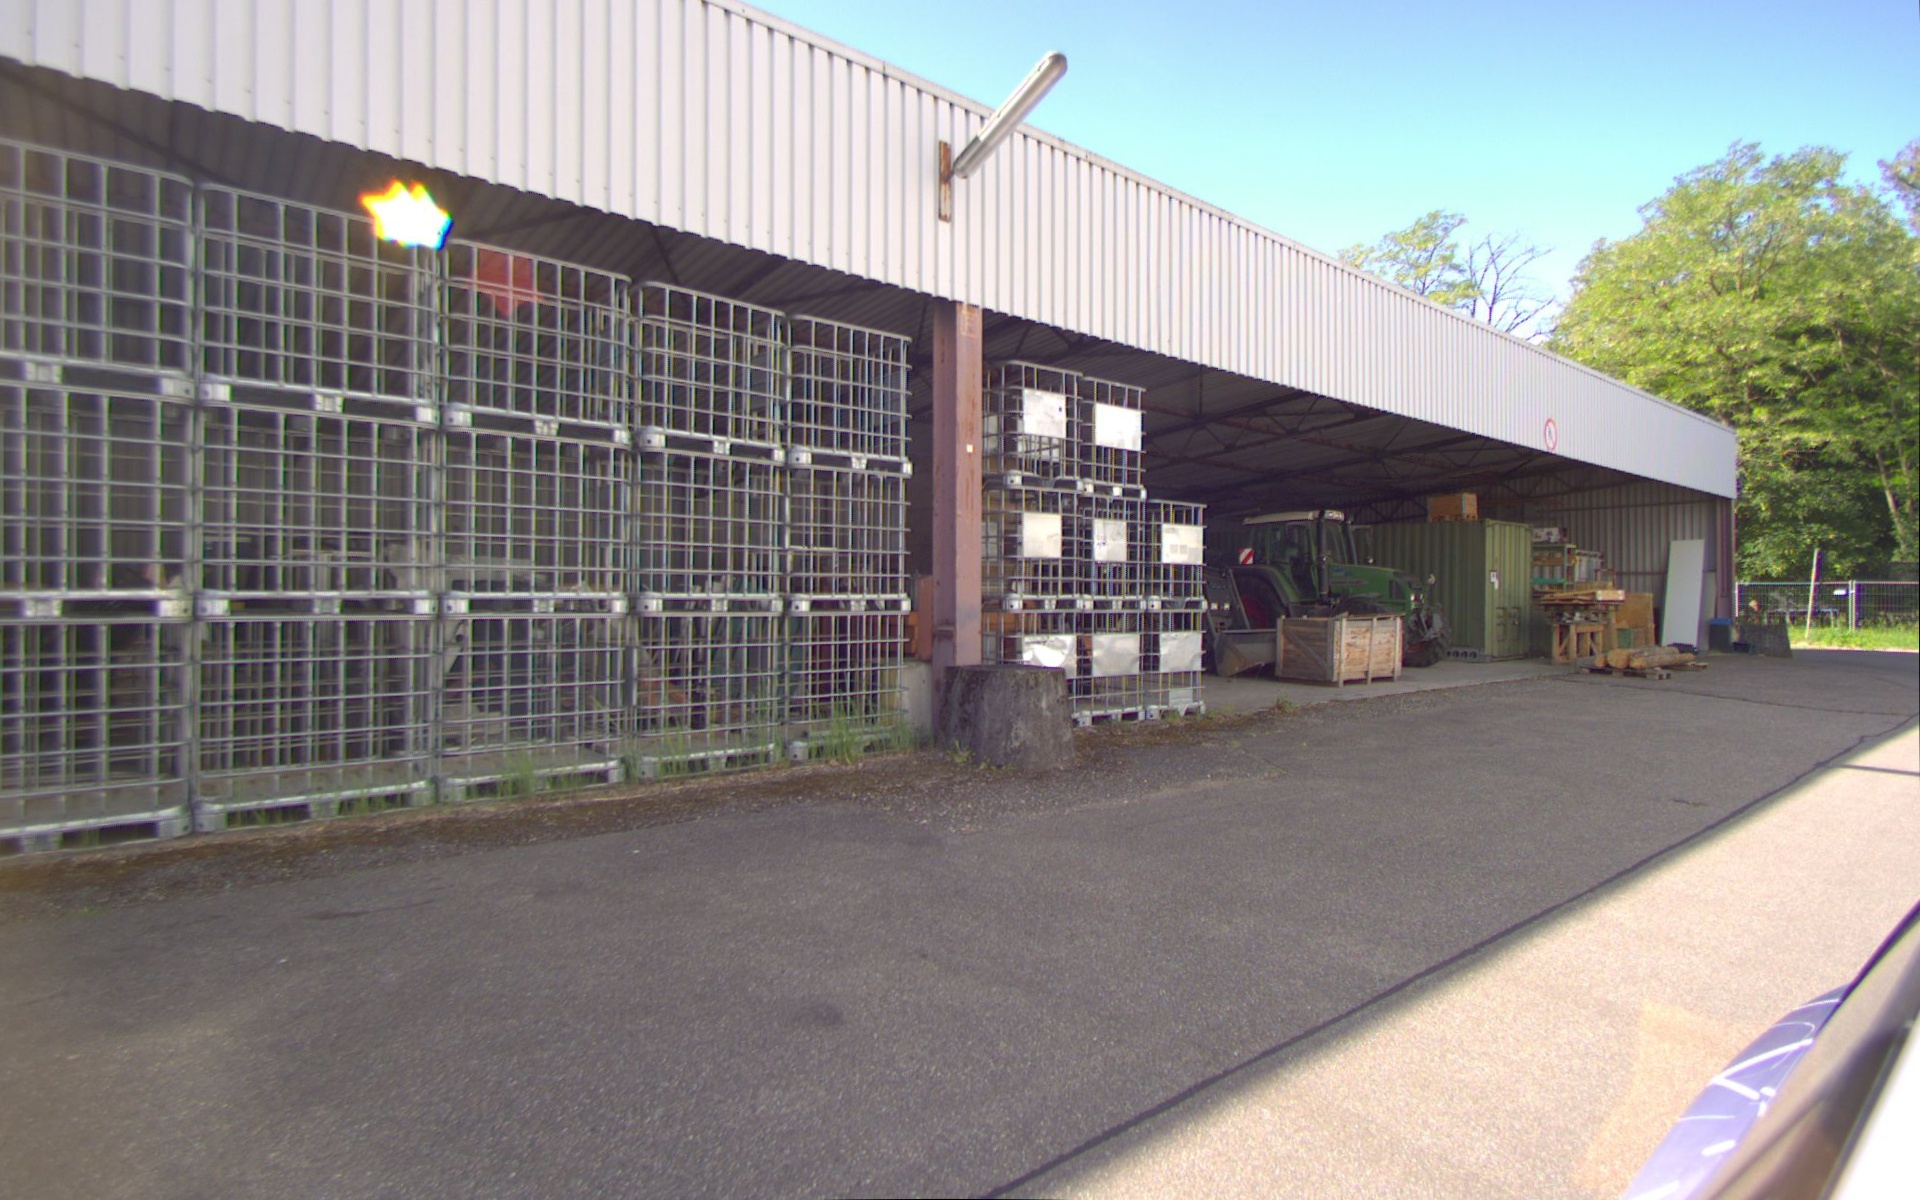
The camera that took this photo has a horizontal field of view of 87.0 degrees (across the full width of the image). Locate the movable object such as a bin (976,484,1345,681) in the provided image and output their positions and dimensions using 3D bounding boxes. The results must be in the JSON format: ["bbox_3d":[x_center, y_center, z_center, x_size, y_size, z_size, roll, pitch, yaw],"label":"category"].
[{"bbox_3d":[3.401,-0.270,18.527,2.962,2.947,6.199,0,0,-39],"label":"movable object such as a bin"}]

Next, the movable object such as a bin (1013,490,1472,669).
[{"bbox_3d":[5.352,-0.349,21.265,3.154,2.947,9.213,0,0,-39],"label":"movable object such as a bin"}]
